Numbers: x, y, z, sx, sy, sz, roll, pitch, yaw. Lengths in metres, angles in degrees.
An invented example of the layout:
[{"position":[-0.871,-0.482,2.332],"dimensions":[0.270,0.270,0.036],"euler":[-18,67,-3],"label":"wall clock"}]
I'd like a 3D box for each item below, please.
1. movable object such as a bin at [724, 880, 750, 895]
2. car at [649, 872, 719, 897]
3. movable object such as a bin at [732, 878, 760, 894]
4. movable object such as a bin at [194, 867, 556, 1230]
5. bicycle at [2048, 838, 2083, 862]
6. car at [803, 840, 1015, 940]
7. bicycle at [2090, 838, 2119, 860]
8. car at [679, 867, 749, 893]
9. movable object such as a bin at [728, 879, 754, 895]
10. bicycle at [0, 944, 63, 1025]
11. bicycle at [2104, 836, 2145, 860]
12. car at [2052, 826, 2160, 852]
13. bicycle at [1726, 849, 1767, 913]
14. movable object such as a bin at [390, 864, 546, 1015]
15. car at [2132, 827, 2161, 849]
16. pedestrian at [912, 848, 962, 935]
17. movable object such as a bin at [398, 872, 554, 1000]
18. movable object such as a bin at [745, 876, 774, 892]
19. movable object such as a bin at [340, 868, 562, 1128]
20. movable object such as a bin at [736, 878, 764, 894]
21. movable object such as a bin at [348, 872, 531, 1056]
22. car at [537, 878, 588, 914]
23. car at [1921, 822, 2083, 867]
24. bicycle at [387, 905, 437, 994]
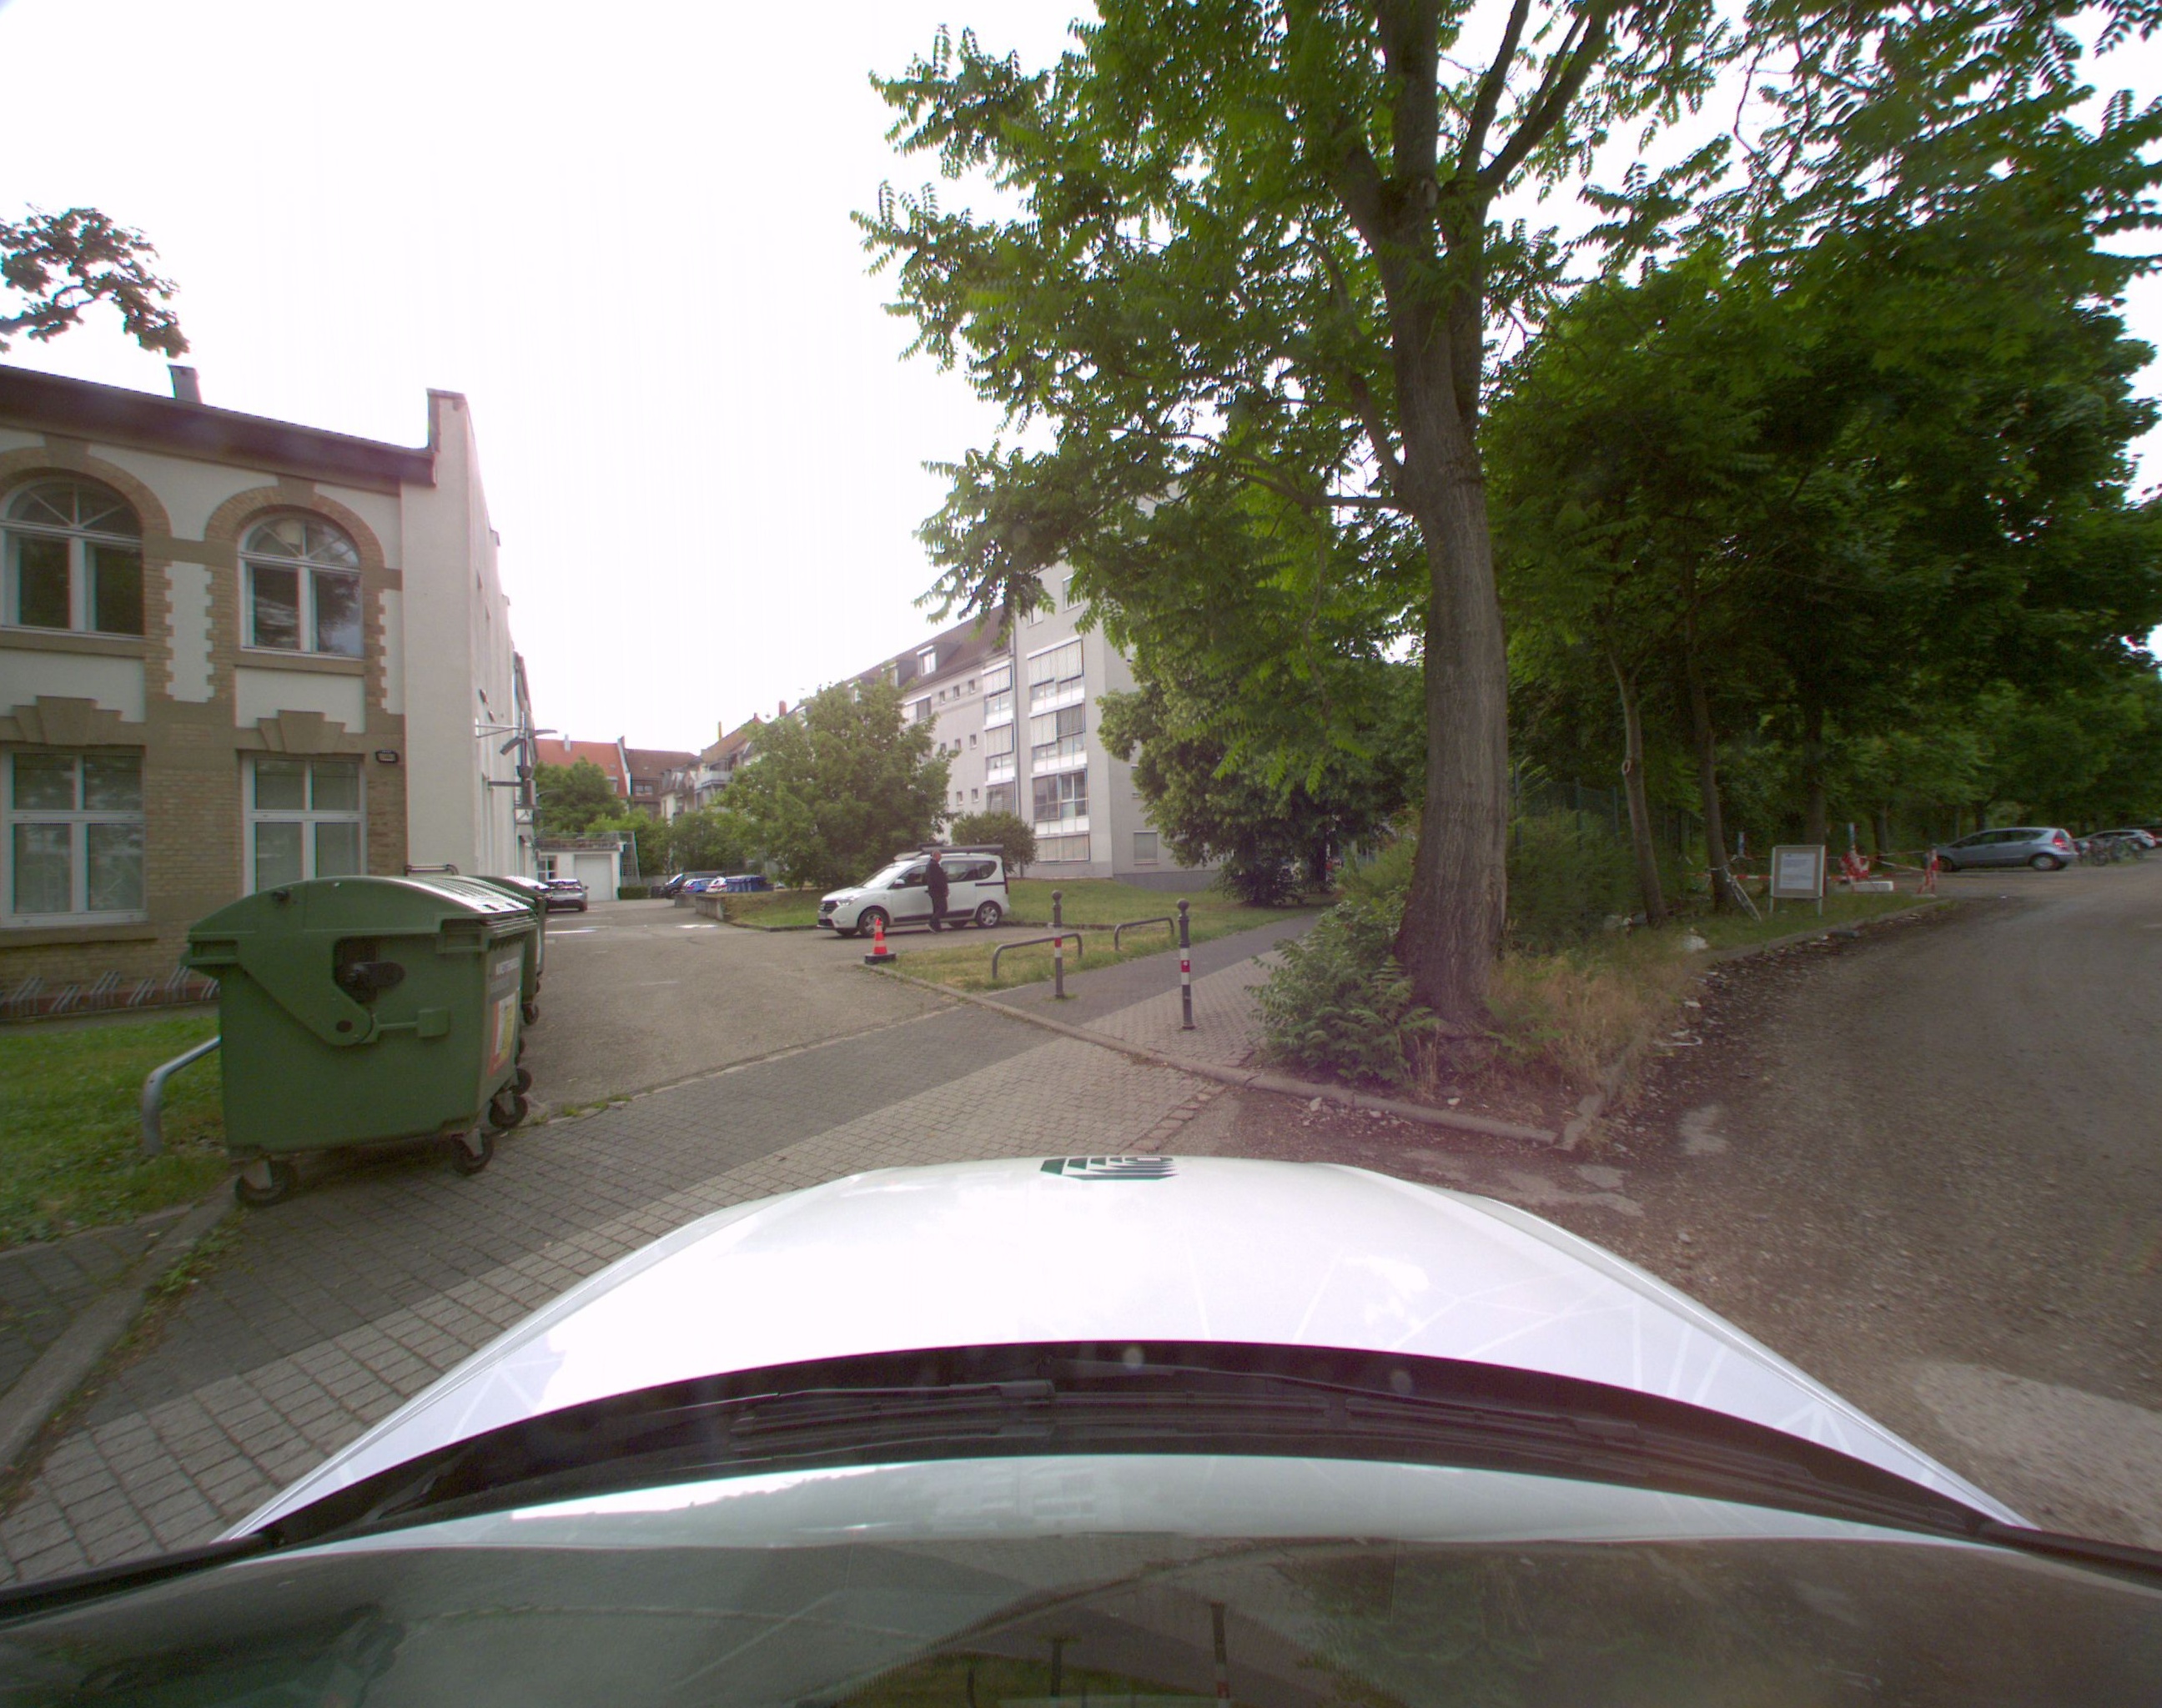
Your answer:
[{"position":[-16.002,1.561,37.846],"dimensions":[0.971,0.679,0.862],"euler":[-1,-2,-32],"label":"movable object such as a bin"},{"position":[-29.256,2.230,60.051],"dimensions":[4.220,1.574,1.975],"euler":[-2,0,-44],"label":"car"},{"position":[-14.862,1.410,36.126],"dimensions":[0.971,0.637,0.902],"euler":[-1,-2,-32],"label":"movable object such as a bin"},{"position":[-3.470,0.824,4.220],"dimensions":[1.058,1.450,1.343],"euler":[-1,1,-25],"label":"movable object such as a bin"},{"position":[42.790,-0.193,35.413],"dimensions":[0.763,0.978,2.044],"euler":[-2,-1,45],"label":"bicycle"},{"position":[-3.868,0.750,18.691],"dimensions":[4.372,2.014,1.833],"euler":[-1,-2,-38],"label":"car"},{"position":[48.261,-0.249,38.422],"dimensions":[0.583,0.978,2.044],"euler":[-2,-1,45],"label":"bicycle"},{"position":[-25.170,1.780,55.922],"dimensions":[4.023,1.574,1.565],"euler":[-2,0,-44],"label":"car"},{"position":[-15.458,1.511,37.042],"dimensions":[0.971,0.679,0.802],"euler":[-1,-2,-32],"label":"movable object such as a bin"},{"position":[-12.237,1.490,8.907],"dimensions":[0.620,0.813,1.927],"euler":[-2,-1,-27],"label":"bicycle"},{"position":[43.904,-0.271,34.287],"dimensions":[0.763,0.978,2.044],"euler":[-2,-1,45],"label":"bicycle"},{"position":[67.687,-0.965,53.881],"dimensions":[3.950,1.508,2.012],"euler":[-2,0,26],"label":"car"},{"position":[10.356,0.398,12.674],"dimensions":[0.415,0.905,1.161],"euler":[5,4,39],"label":"bicycle"},{"position":[-5.929,0.757,7.859],"dimensions":[1.062,1.265,1.337],"euler":[-1,-1,-42],"label":"movable object such as a bin"},{"position":[83.609,-1.297,62.421],"dimensions":[1.789,1.662,3.615],"euler":[-1,0,-33],"label":"car"},{"position":[-3.108,0.793,17.561],"dimensions":[0.760,1.809,0.690],"euler":[-1,-3,-38],"label":"pedestrian"},{"position":[-6.738,0.860,9.181],"dimensions":[1.056,1.265,1.344],"euler":[-2,0,-21],"label":"movable object such as a bin"},{"position":[-13.464,1.252,34.094],"dimensions":[0.971,0.637,0.902],"euler":[-1,-2,-32],"label":"movable object such as a bin"},{"position":[-4.231,0.849,5.503],"dimensions":[1.061,1.456,1.338],"euler":[-1,-2,-39],"label":"movable object such as a bin"},{"position":[-14.237,1.365,35.066],"dimensions":[0.971,0.637,0.902],"euler":[-1,-2,-32],"label":"movable object such as a bin"},{"position":[-5.210,0.806,6.647],"dimensions":[1.061,1.265,1.338],"euler":[-1,-1,-39],"label":"movable object such as a bin"},{"position":[-23.747,1.928,37.306],"dimensions":[1.860,1.508,3.958],"euler":[-1,-2,-33],"label":"car"},{"position":[34.027,-0.324,30.188],"dimensions":[1.874,1.501,3.675],"euler":[-2,0,-31],"label":"car"},{"position":[-9.206,1.272,11.242],"dimensions":[0.398,1.065,1.808],"euler":[-1,-1,-35],"label":"bicycle"}]
